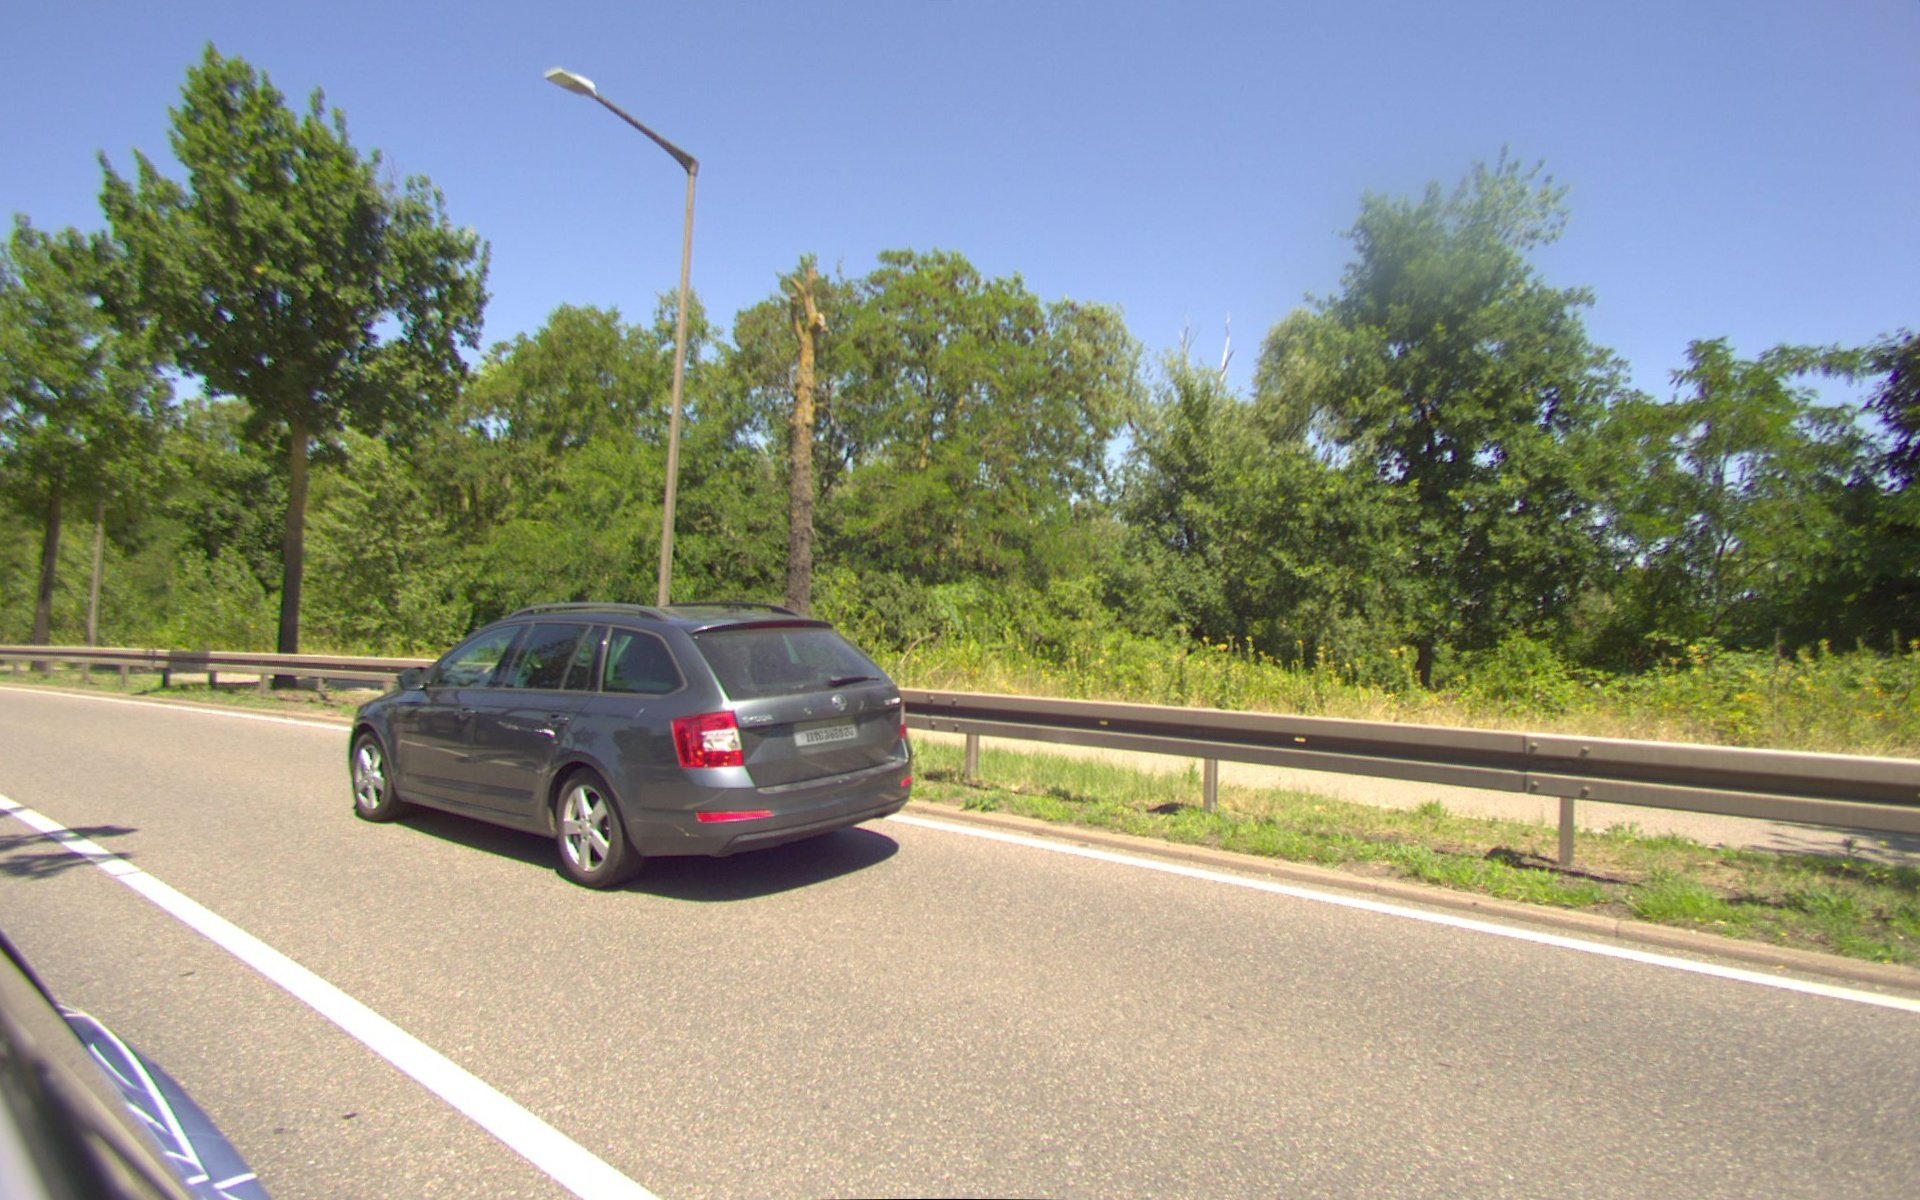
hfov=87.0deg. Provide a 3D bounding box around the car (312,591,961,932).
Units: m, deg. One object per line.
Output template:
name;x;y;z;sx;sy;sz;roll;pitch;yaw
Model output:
car;-2.286;0.725;6.425;4.511;1.458;1.727;-1;-1;39
